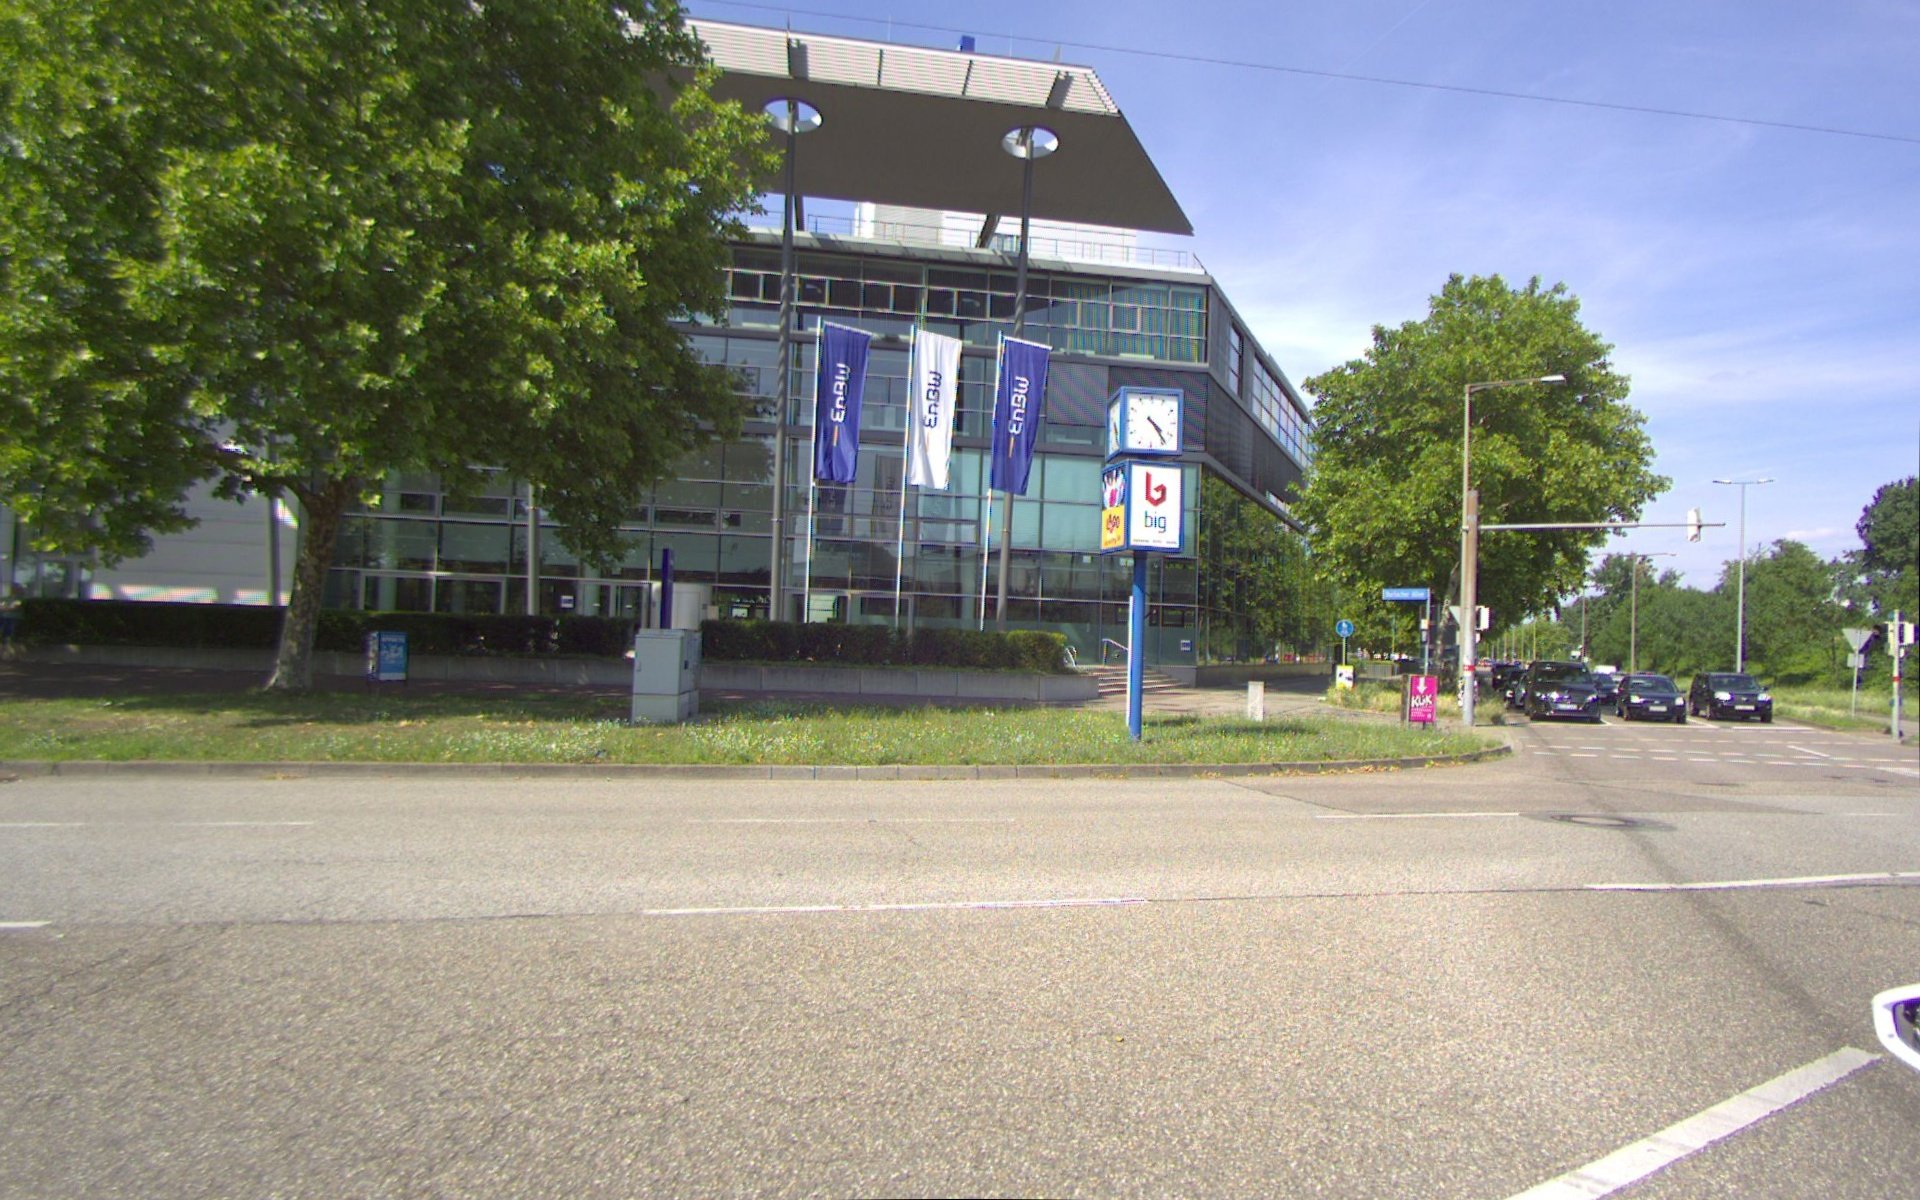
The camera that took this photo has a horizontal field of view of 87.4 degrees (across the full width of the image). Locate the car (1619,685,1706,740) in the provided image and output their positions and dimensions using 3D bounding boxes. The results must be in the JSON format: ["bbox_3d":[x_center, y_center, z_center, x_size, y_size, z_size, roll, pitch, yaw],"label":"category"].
[{"bbox_3d":[22.610,3.584,32.469,1.734,1.494,3.954,1,-3,27],"label":"car"}]

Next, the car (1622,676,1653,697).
[{"bbox_3d":[58.583,7.453,86.908,1.710,1.556,3.995,2,-1,27],"label":"car"}]

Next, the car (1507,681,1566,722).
[{"bbox_3d":[23.601,4.116,41.241,1.862,1.468,4.999,-1,-4,27],"label":"car"}]

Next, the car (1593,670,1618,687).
[{"bbox_3d":[71.333,8.686,111.017,1.963,1.730,4.259,1,-3,27],"label":"car"}]

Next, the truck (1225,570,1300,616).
[{"bbox_3d":[26.321,-0.507,87.885,2.625,3.439,8.978,3,-3,-9],"label":"truck"}]

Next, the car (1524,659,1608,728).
[{"bbox_3d":[19.808,2.991,33.024,1.908,1.945,5.223,1,-2,27],"label":"car"}]

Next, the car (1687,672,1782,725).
[{"bbox_3d":[27.291,3.413,35.542,1.779,1.636,4.488,1,-3,26],"label":"car"}]

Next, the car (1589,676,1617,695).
[{"bbox_3d":[64.651,8.599,101.079,1.963,1.706,3.997,1,-3,27],"label":"car"}]

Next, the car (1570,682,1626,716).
[{"bbox_3d":[29.874,4.593,47.124,1.808,1.481,4.512,-1,-4,27],"label":"car"}]

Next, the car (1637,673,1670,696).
[{"bbox_3d":[65.309,7.913,94.696,1.987,1.862,3.995,2,-1,27],"label":"car"}]
